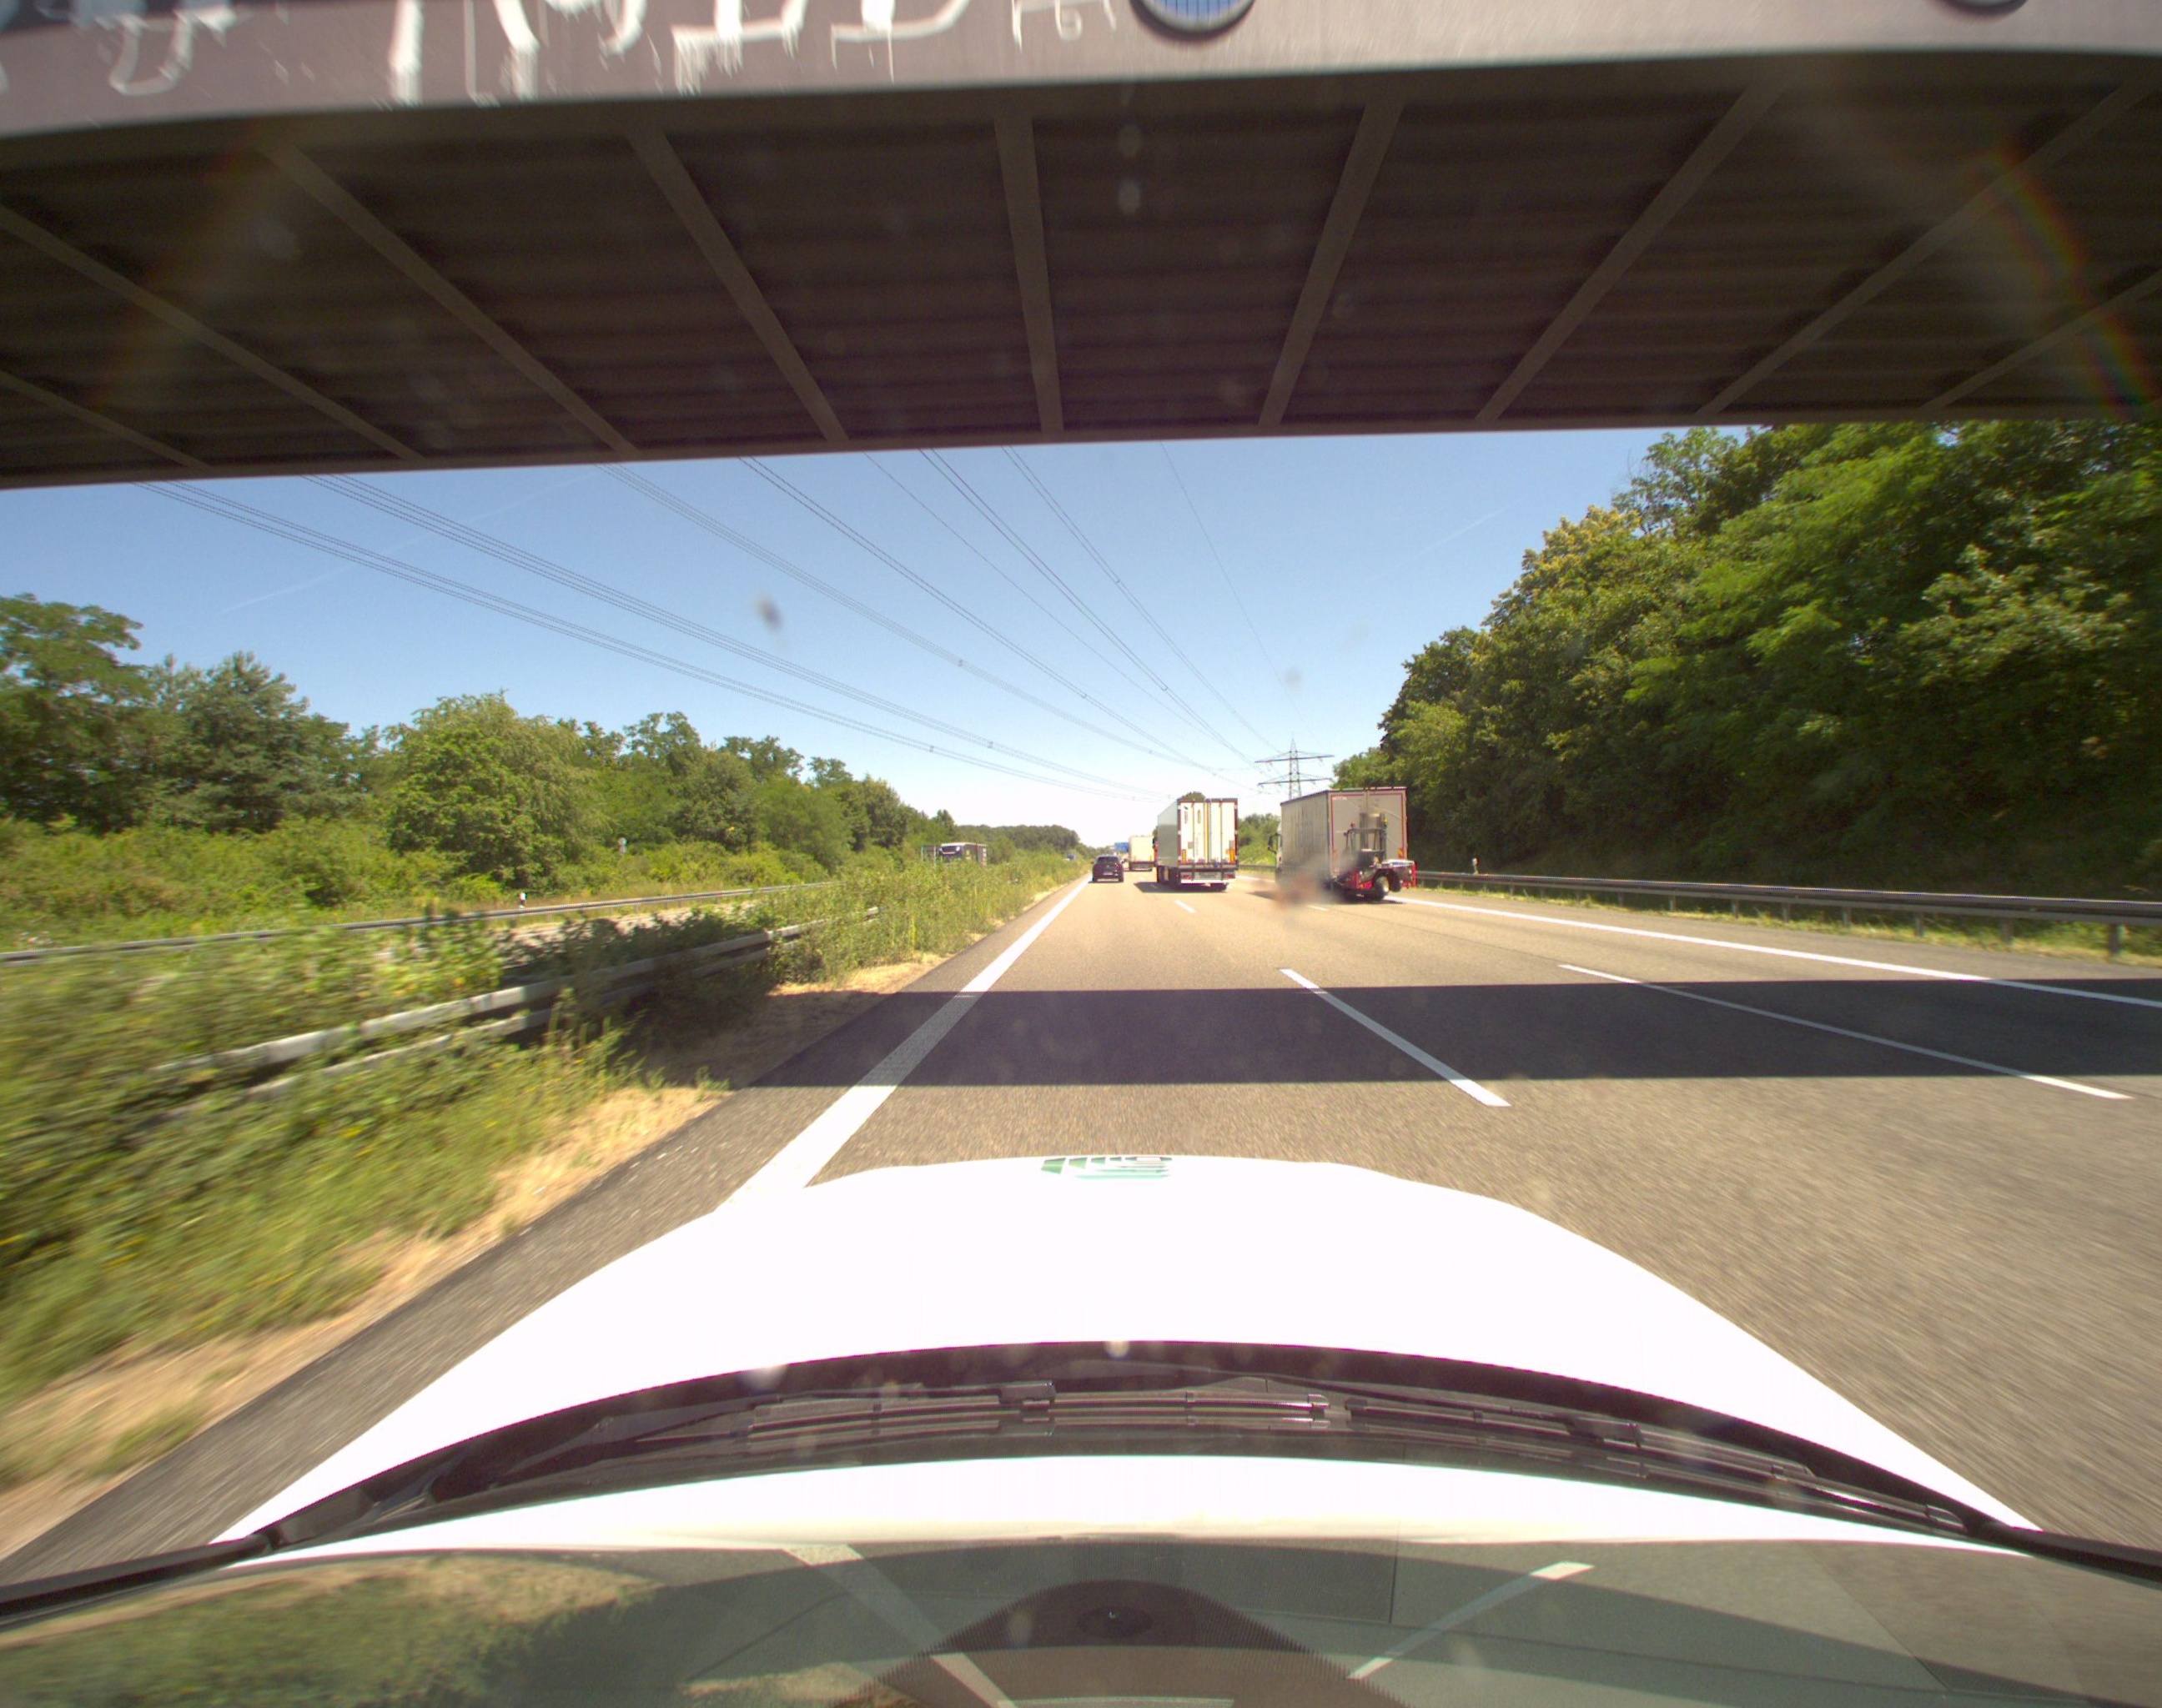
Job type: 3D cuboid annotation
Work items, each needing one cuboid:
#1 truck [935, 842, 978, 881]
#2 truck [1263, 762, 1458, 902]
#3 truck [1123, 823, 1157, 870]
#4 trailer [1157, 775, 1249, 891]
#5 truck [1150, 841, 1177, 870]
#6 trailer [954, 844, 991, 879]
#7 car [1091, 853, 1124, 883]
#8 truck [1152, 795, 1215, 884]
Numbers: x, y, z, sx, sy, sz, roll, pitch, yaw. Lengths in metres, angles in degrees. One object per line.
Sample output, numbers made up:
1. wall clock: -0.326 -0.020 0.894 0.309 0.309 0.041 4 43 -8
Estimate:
1. truck: -14.018 0.878 92.733 2.747 4.121 10.221 -2 -1 2
2. truck: 9.779 -0.632 30.530 3.558 4.245 11.654 0 -1 1
3. truck: 6.753 -0.791 94.790 3.499 5.166 10.261 0 0 1
4. trailer: 5.707 -0.833 40.432 3.076 4.885 12.261 0 -1 1
5. truck: 13.808 0.261 137.097 3.499 4.492 13.254 0 0 1
6. trailer: -13.608 0.968 103.016 2.756 4.096 10.303 -3 -1 2
7. car: 1.643 0.849 52.102 1.987 1.772 4.000 -2 0 0
8. truck: 5.932 -0.764 48.241 3.076 4.885 6.599 0 -1 1
